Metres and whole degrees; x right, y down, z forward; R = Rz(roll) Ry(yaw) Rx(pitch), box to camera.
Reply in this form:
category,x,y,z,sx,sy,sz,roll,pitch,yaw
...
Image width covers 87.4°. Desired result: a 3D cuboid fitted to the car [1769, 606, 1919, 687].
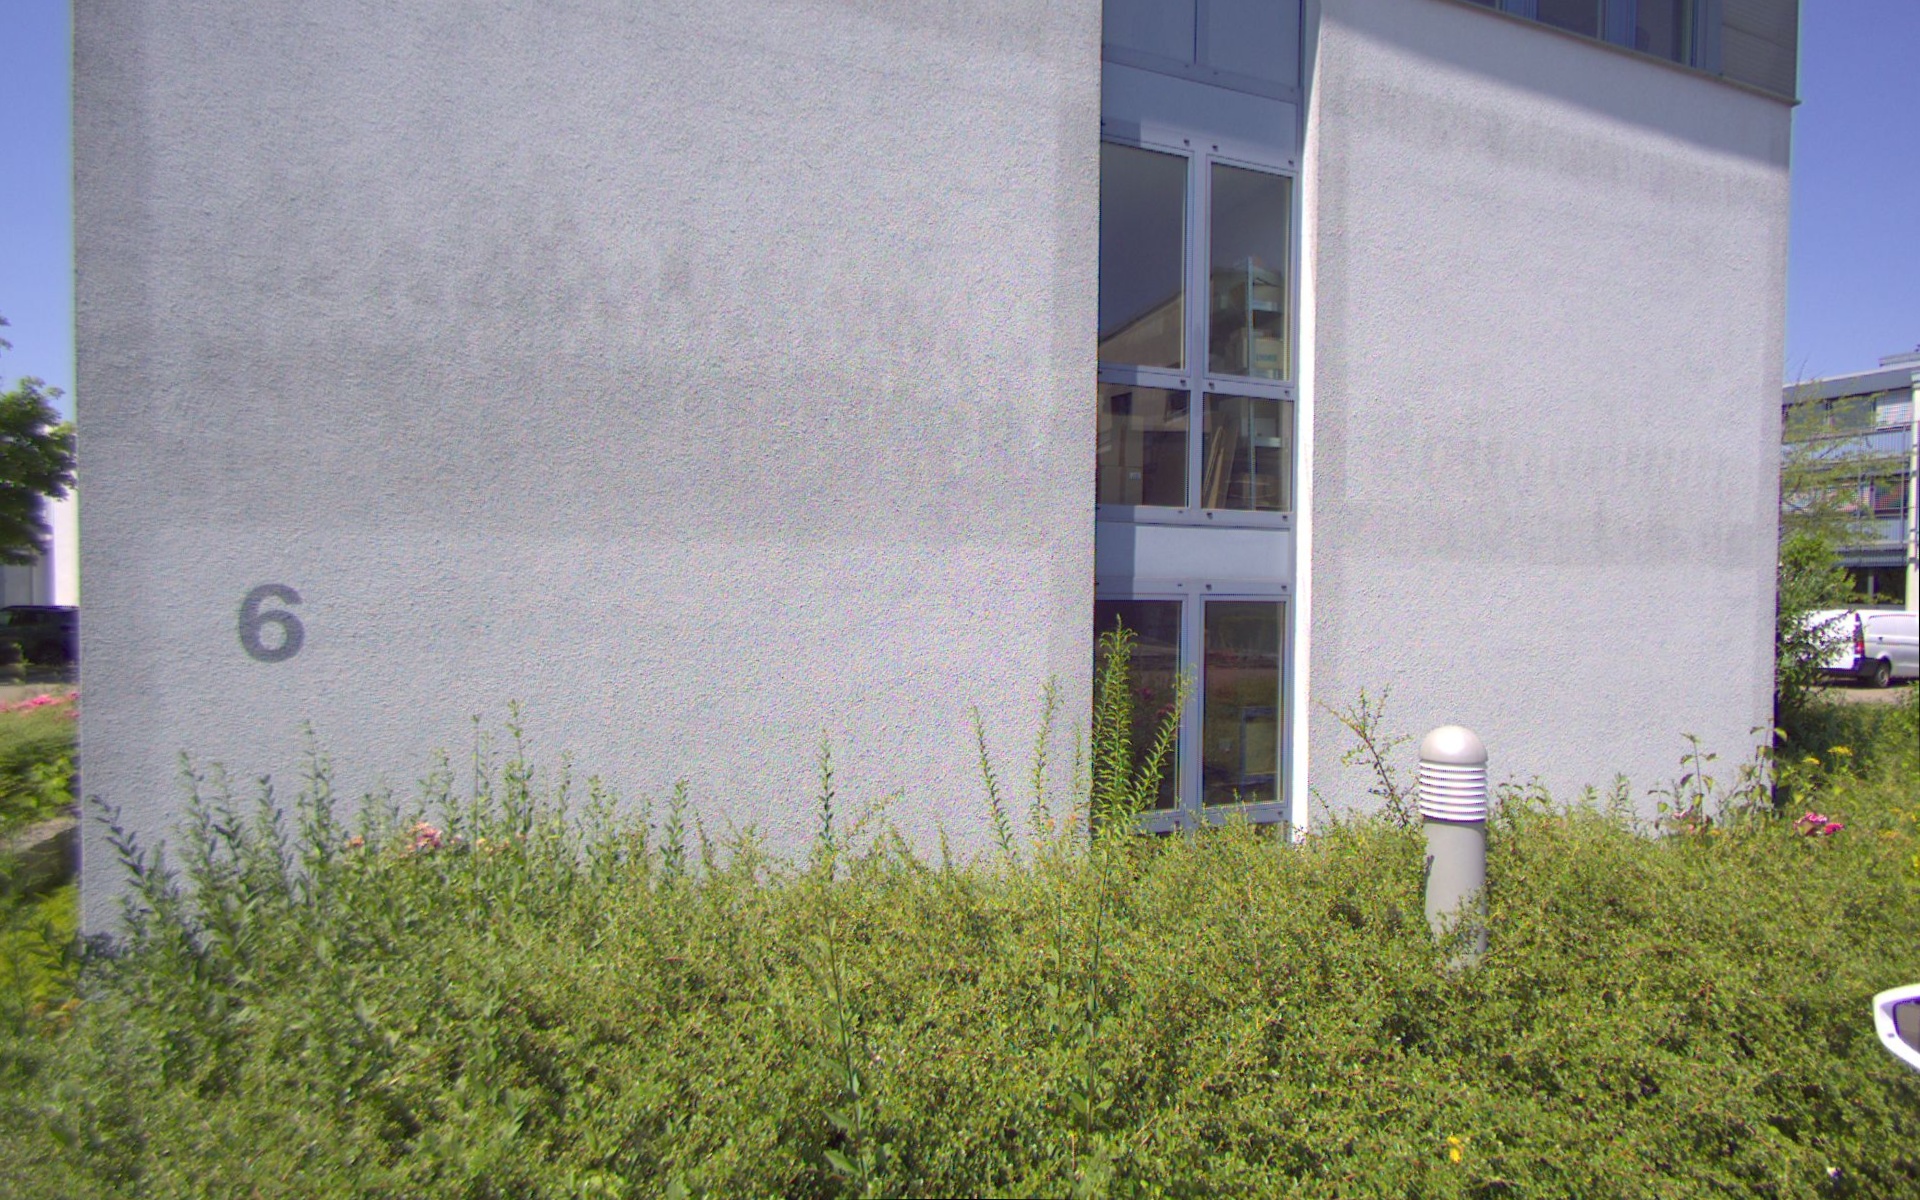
category,x,y,z,sx,sy,sz,roll,pitch,yaw
car,23.154,1.125,25.681,4.735,1.916,1.877,0,0,-23

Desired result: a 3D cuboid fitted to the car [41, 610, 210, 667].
category,x,y,z,sx,sy,sz,roll,pitch,yaw
car,-21.865,0.998,26.411,3.031,1.443,1.548,1,-1,-6

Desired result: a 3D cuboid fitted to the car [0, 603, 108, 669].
category,x,y,z,sx,sy,sz,roll,pitch,yaw
car,-22.487,0.827,23.916,2.943,1.443,1.548,2,-1,-6
